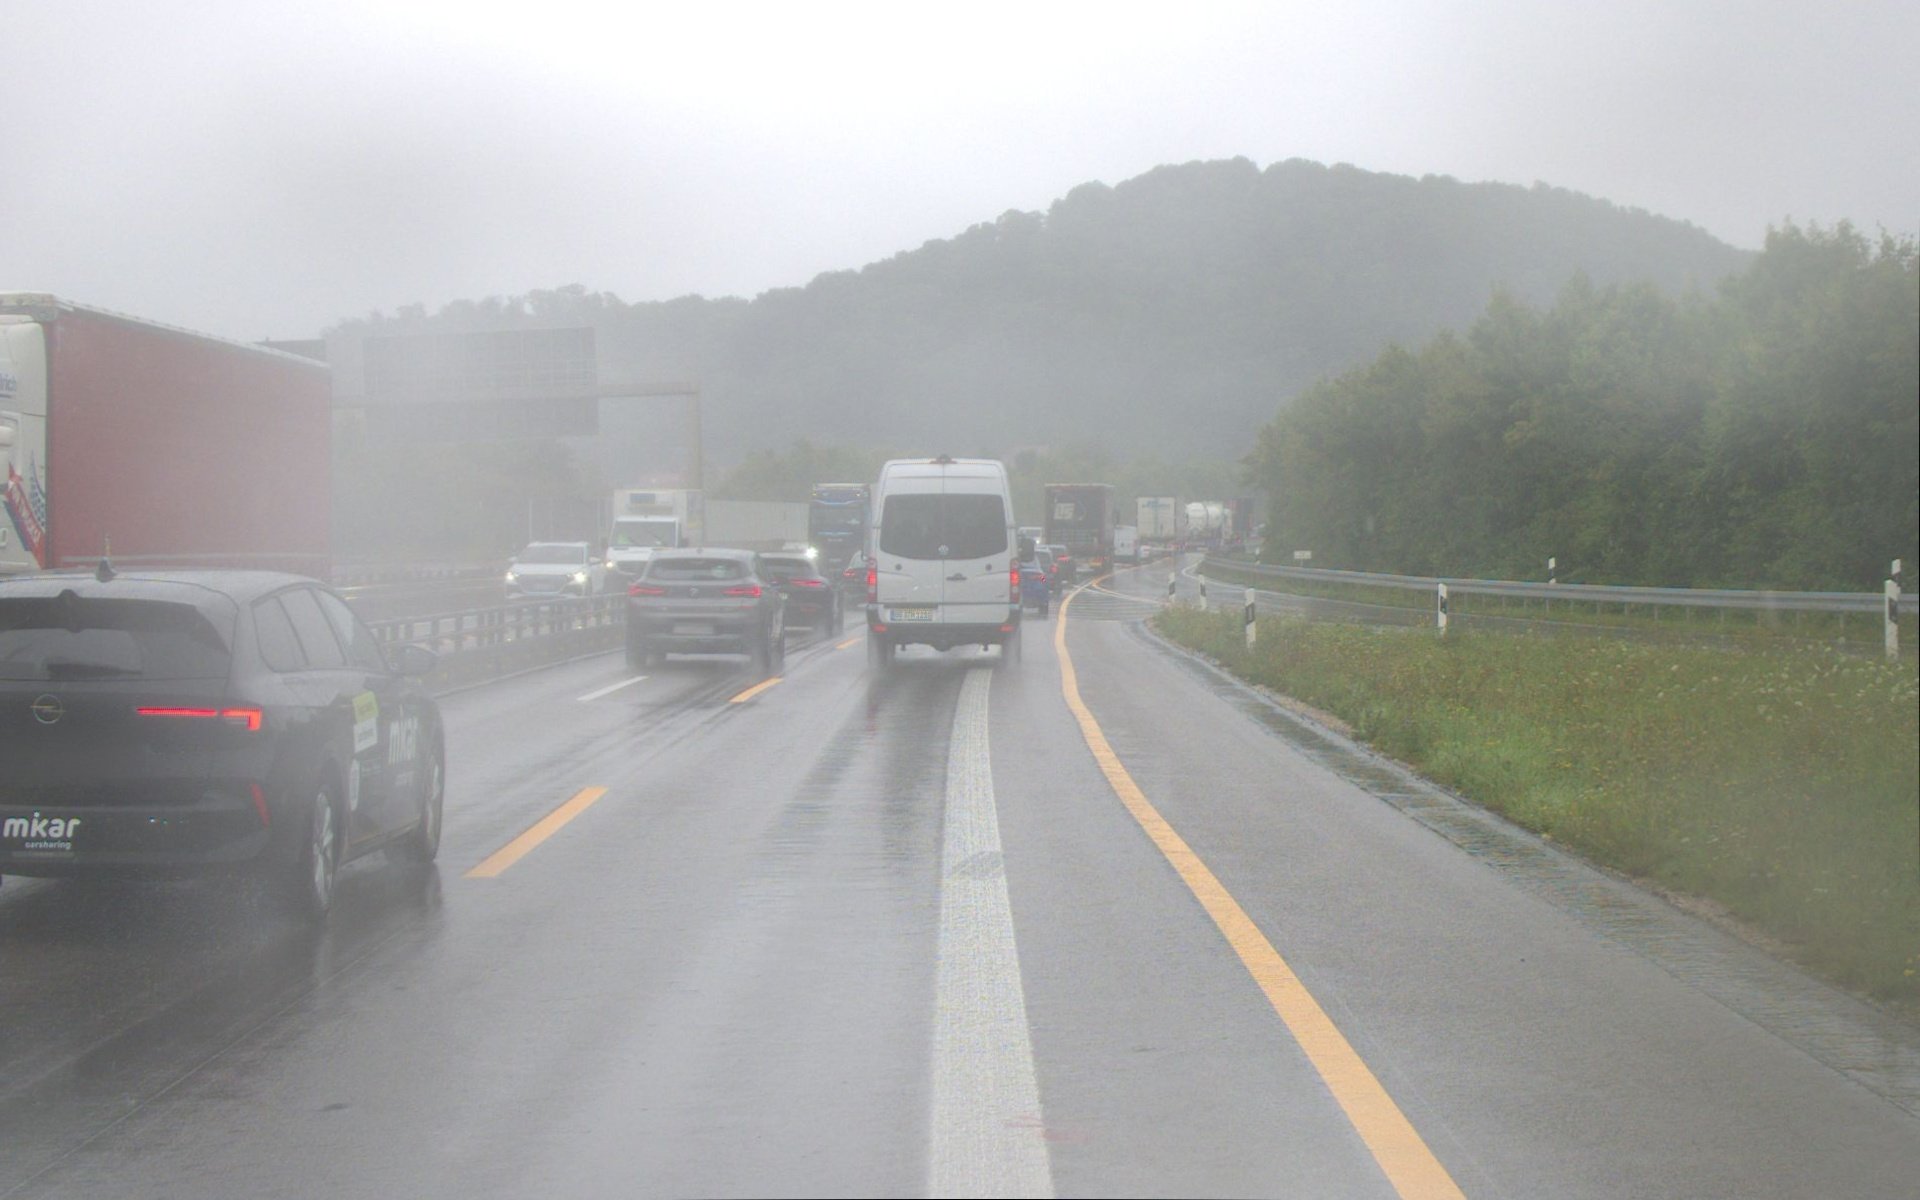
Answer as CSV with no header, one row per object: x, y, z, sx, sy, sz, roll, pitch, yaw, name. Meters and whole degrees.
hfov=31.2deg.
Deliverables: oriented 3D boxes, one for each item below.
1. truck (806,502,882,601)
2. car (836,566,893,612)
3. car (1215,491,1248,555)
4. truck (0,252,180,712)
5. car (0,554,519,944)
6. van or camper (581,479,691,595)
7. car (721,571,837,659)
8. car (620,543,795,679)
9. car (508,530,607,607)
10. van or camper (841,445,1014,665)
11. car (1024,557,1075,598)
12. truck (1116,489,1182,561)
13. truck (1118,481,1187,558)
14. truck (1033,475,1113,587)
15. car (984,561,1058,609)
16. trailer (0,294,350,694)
-5.020,-2.087,149.470,2.889,4.217,6.326,0,0,2,truck
-2.296,-0.277,83.272,1.262,1.074,3.254,0,1,0,car
17.809,-5.031,226.053,2.058,4.177,6.745,0,1,4,car
-10.310,-1.109,34.960,3.008,4.257,6.800,-1,1,1,truck
-3.193,0.524,15.107,1.939,1.422,4.760,1,1,-1,car
-8.842,-1.692,94.360,2.293,3.031,6.699,1,0,0,van or camper
-3.163,0.237,60.715,1.852,1.495,4.000,0,1,0,car
-3.193,0.111,44.185,1.867,1.653,3.988,0,1,1,car
-9.064,-0.709,77.702,1.636,1.662,4.543,1,0,0,car
-0.409,-0.583,44.932,2.139,2.712,4.648,0,1,0,van or camper
2.748,-0.701,105.980,1.384,1.252,3.123,0,1,-2,car
10.448,-4.130,191.287,3.320,3.749,9.906,1,0,2,truck
12.680,-5.242,225.589,3.929,4.768,9.904,1,0,6,truck
4.999,-2.998,152.668,3.320,4.768,9.906,1,0,2,truck
1.384,-0.346,78.579,1.384,1.074,3.123,0,1,-5,car
-10.140,-1.187,42.497,2.976,4.280,11.060,-1,1,1,trailer
